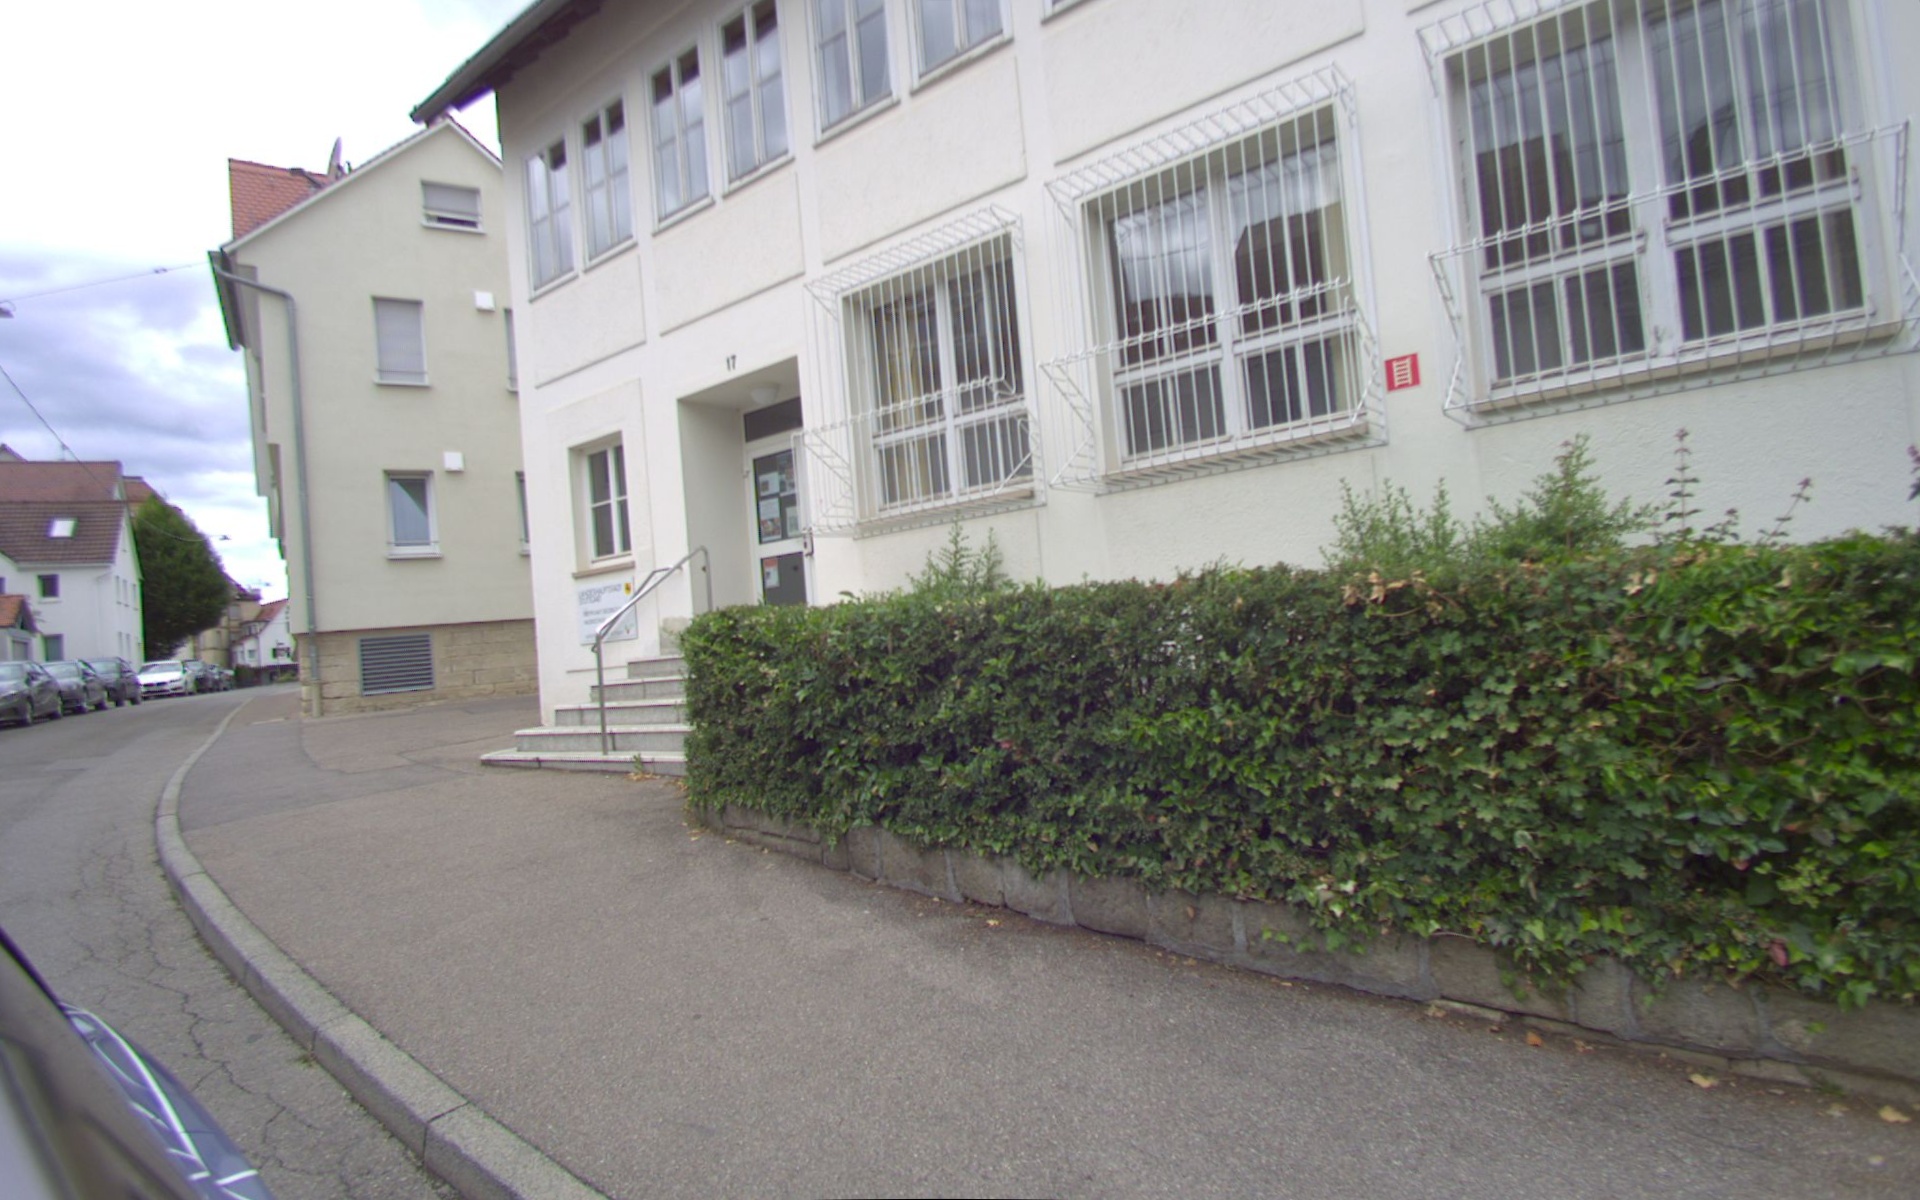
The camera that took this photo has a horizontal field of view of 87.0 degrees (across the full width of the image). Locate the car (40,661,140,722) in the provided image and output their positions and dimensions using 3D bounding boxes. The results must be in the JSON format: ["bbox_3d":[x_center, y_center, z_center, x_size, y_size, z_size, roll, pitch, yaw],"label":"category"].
[{"bbox_3d":[-25.832,2.690,30.166,1.616,1.523,3.851,-5,-2,-32],"label":"car"}]

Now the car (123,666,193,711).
[{"bbox_3d":[-32.788,3.607,41.451,1.742,1.574,4.051,-5,-1,-33],"label":"car"}]

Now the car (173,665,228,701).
[{"bbox_3d":[-39.259,4.248,52.402,1.742,1.605,4.052,-5,-1,-31],"label":"car"}]

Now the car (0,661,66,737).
[{"bbox_3d":[-20.703,2.127,21.487,1.783,1.453,3.970,-5,0,-31],"label":"car"}]

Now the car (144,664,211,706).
[{"bbox_3d":[-35.580,3.830,46.109,1.742,1.632,4.295,-5,-1,-30],"label":"car"}]

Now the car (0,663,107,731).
[{"bbox_3d":[-23.336,2.450,25.895,1.702,1.453,4.276,-5,-1,-33],"label":"car"}]
